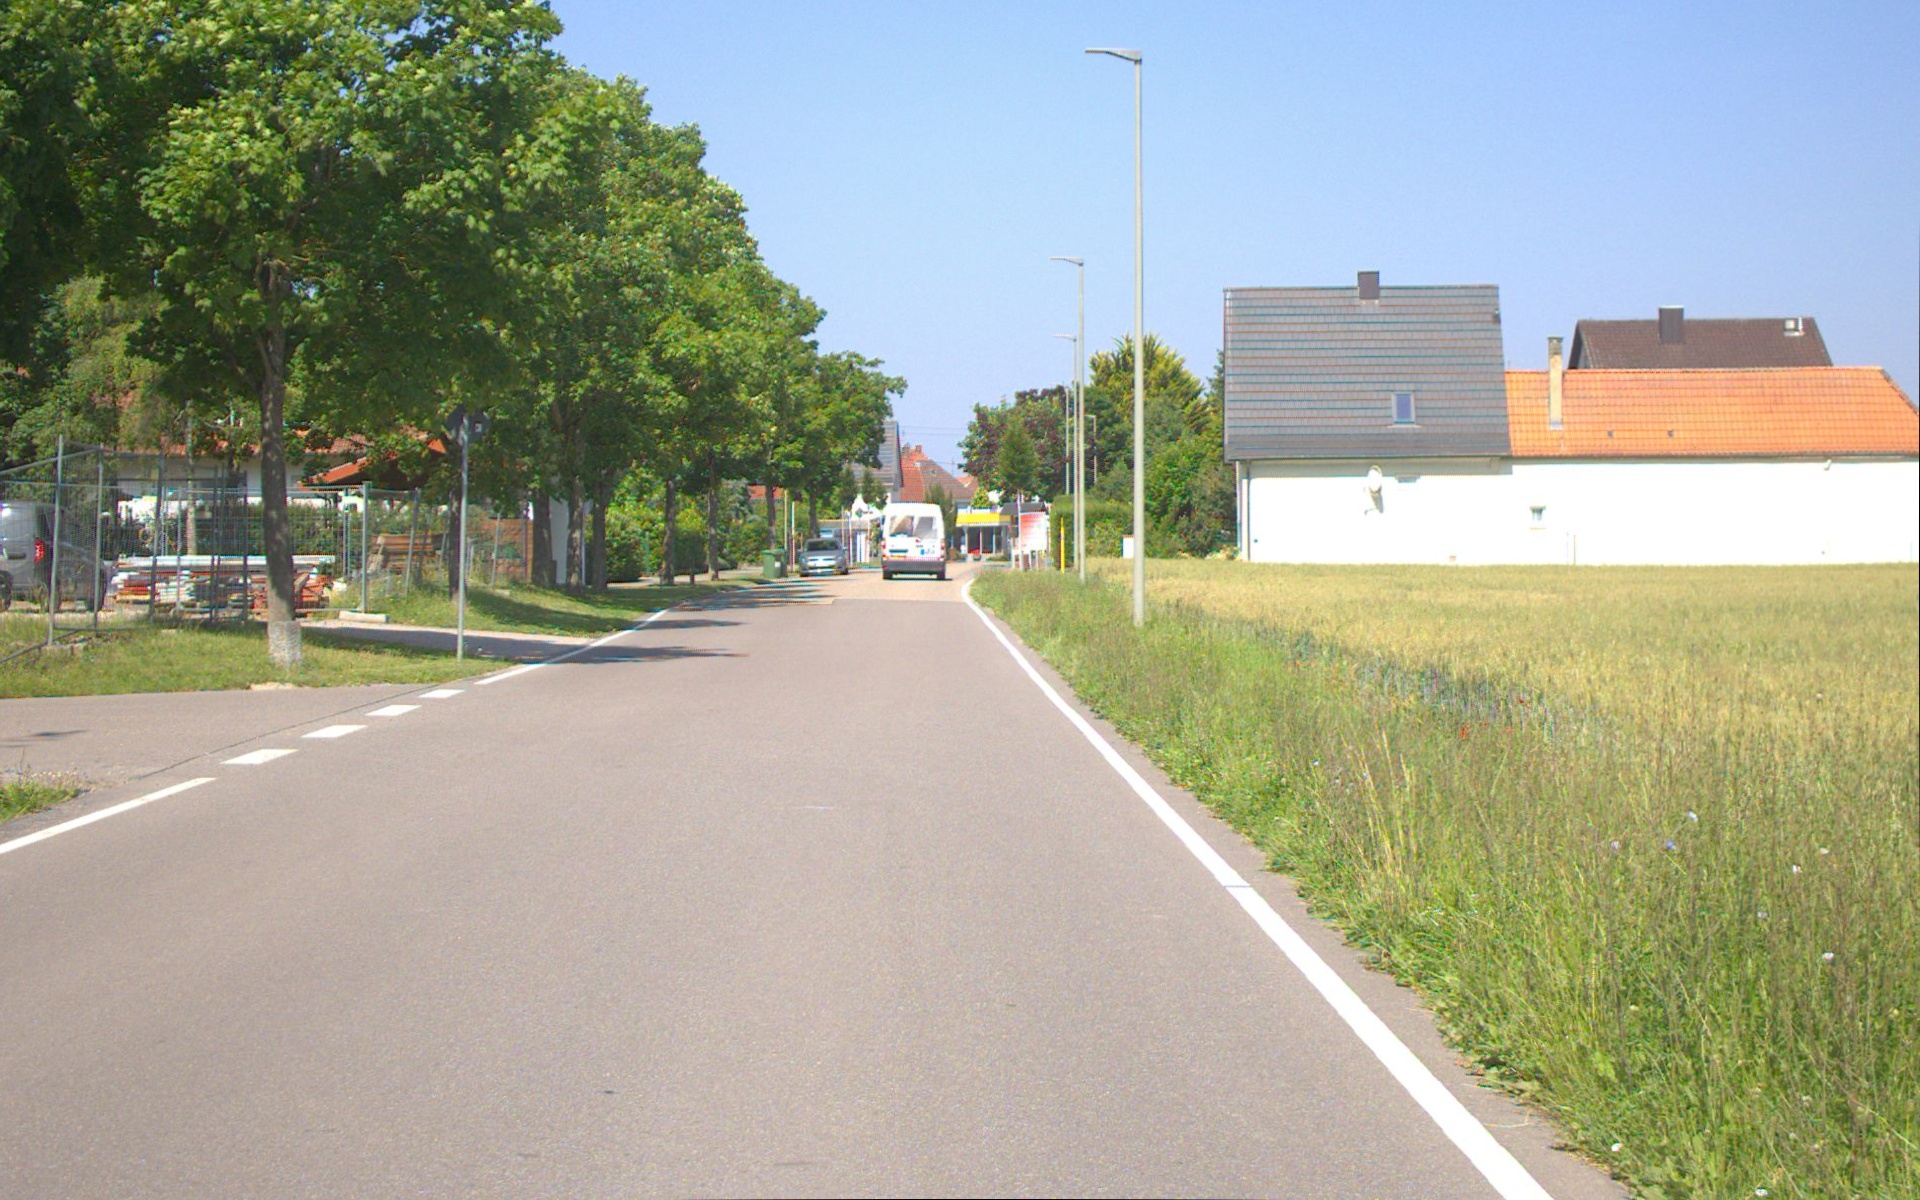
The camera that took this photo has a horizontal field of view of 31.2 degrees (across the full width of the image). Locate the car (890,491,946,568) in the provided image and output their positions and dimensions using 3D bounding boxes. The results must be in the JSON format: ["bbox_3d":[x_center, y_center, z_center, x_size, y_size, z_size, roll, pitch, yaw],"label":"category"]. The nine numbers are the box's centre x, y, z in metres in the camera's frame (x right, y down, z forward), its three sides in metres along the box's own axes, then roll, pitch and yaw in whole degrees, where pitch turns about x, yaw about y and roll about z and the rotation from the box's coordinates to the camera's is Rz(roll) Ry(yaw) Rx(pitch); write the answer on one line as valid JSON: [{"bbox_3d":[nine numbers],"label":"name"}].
[{"bbox_3d":[-1.350,-2.290,111.587,1.737,2.424,4.374,-1,1,0],"label":"car"}]

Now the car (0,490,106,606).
[{"bbox_3d":[-15.602,-0.873,56.874,1.970,1.832,4.329,0,1,-1],"label":"car"}]

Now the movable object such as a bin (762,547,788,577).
[{"bbox_3d":[-6.723,-1.397,124.916,0.714,1.075,0.639,0,1,27],"label":"movable object such as a bin"}]

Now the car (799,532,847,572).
[{"bbox_3d":[-5.194,-1.822,130.387,1.647,1.419,4.080,-3,1,-1],"label":"car"}]

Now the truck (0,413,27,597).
[{"bbox_3d":[-15.544,-1.268,45.394,5.914,2.475,2.000,0,1,-37],"label":"truck"}]
